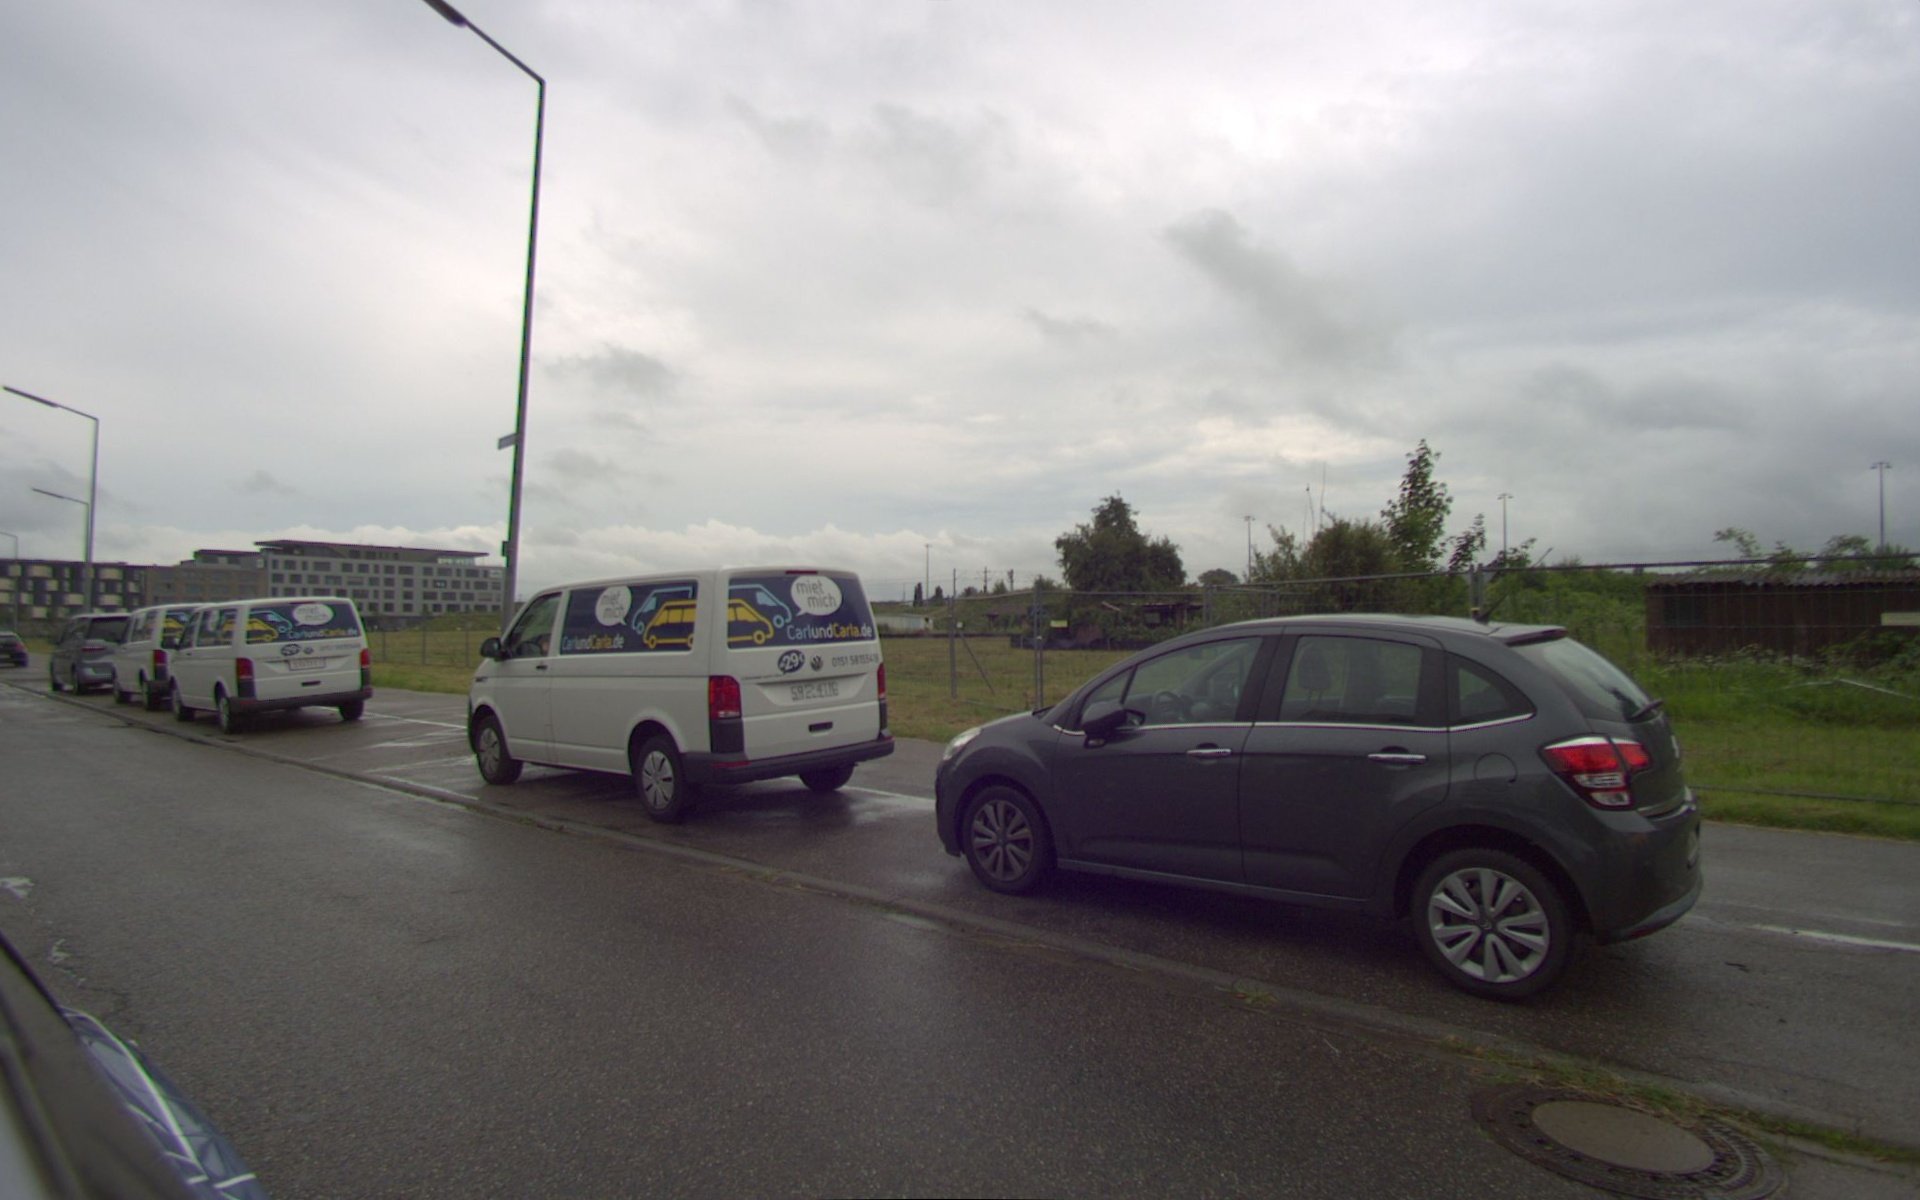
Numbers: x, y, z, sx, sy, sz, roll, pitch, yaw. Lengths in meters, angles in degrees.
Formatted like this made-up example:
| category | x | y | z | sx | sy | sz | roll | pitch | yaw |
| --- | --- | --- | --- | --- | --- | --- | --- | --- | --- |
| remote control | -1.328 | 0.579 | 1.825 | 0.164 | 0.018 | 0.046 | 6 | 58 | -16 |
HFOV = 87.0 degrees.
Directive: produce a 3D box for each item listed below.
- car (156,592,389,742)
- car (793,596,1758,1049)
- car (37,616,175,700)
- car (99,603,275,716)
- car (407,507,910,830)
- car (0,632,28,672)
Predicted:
| category | x | y | z | sx | sy | sz | roll | pitch | yaw |
| --- | --- | --- | --- | --- | --- | --- | --- | --- | --- |
| car | -11.342 | 0.993 | 16.522 | 5.272 | 2.074 | 1.939 | -2 | -1 | 42 |
| car | 1.287 | 0.808 | 5.649 | 4.889 | 1.513 | 1.666 | -2 | -2 | 41 |
| car | -21.441 | 1.383 | 25.322 | 4.993 | 1.916 | 1.935 | -2 | -2 | 41 |
| car | -15.851 | 1.153 | 20.637 | 5.256 | 2.029 | 1.875 | -2 | -2 | 42 |
| car | -3.142 | 0.560 | 9.627 | 5.554 | 2.253 | 1.922 | -2 | -2 | 41 |
| car | -39.889 | 2.147 | 41.627 | 4.150 | 1.573 | 1.828 | -2 | 0 | 41 |
